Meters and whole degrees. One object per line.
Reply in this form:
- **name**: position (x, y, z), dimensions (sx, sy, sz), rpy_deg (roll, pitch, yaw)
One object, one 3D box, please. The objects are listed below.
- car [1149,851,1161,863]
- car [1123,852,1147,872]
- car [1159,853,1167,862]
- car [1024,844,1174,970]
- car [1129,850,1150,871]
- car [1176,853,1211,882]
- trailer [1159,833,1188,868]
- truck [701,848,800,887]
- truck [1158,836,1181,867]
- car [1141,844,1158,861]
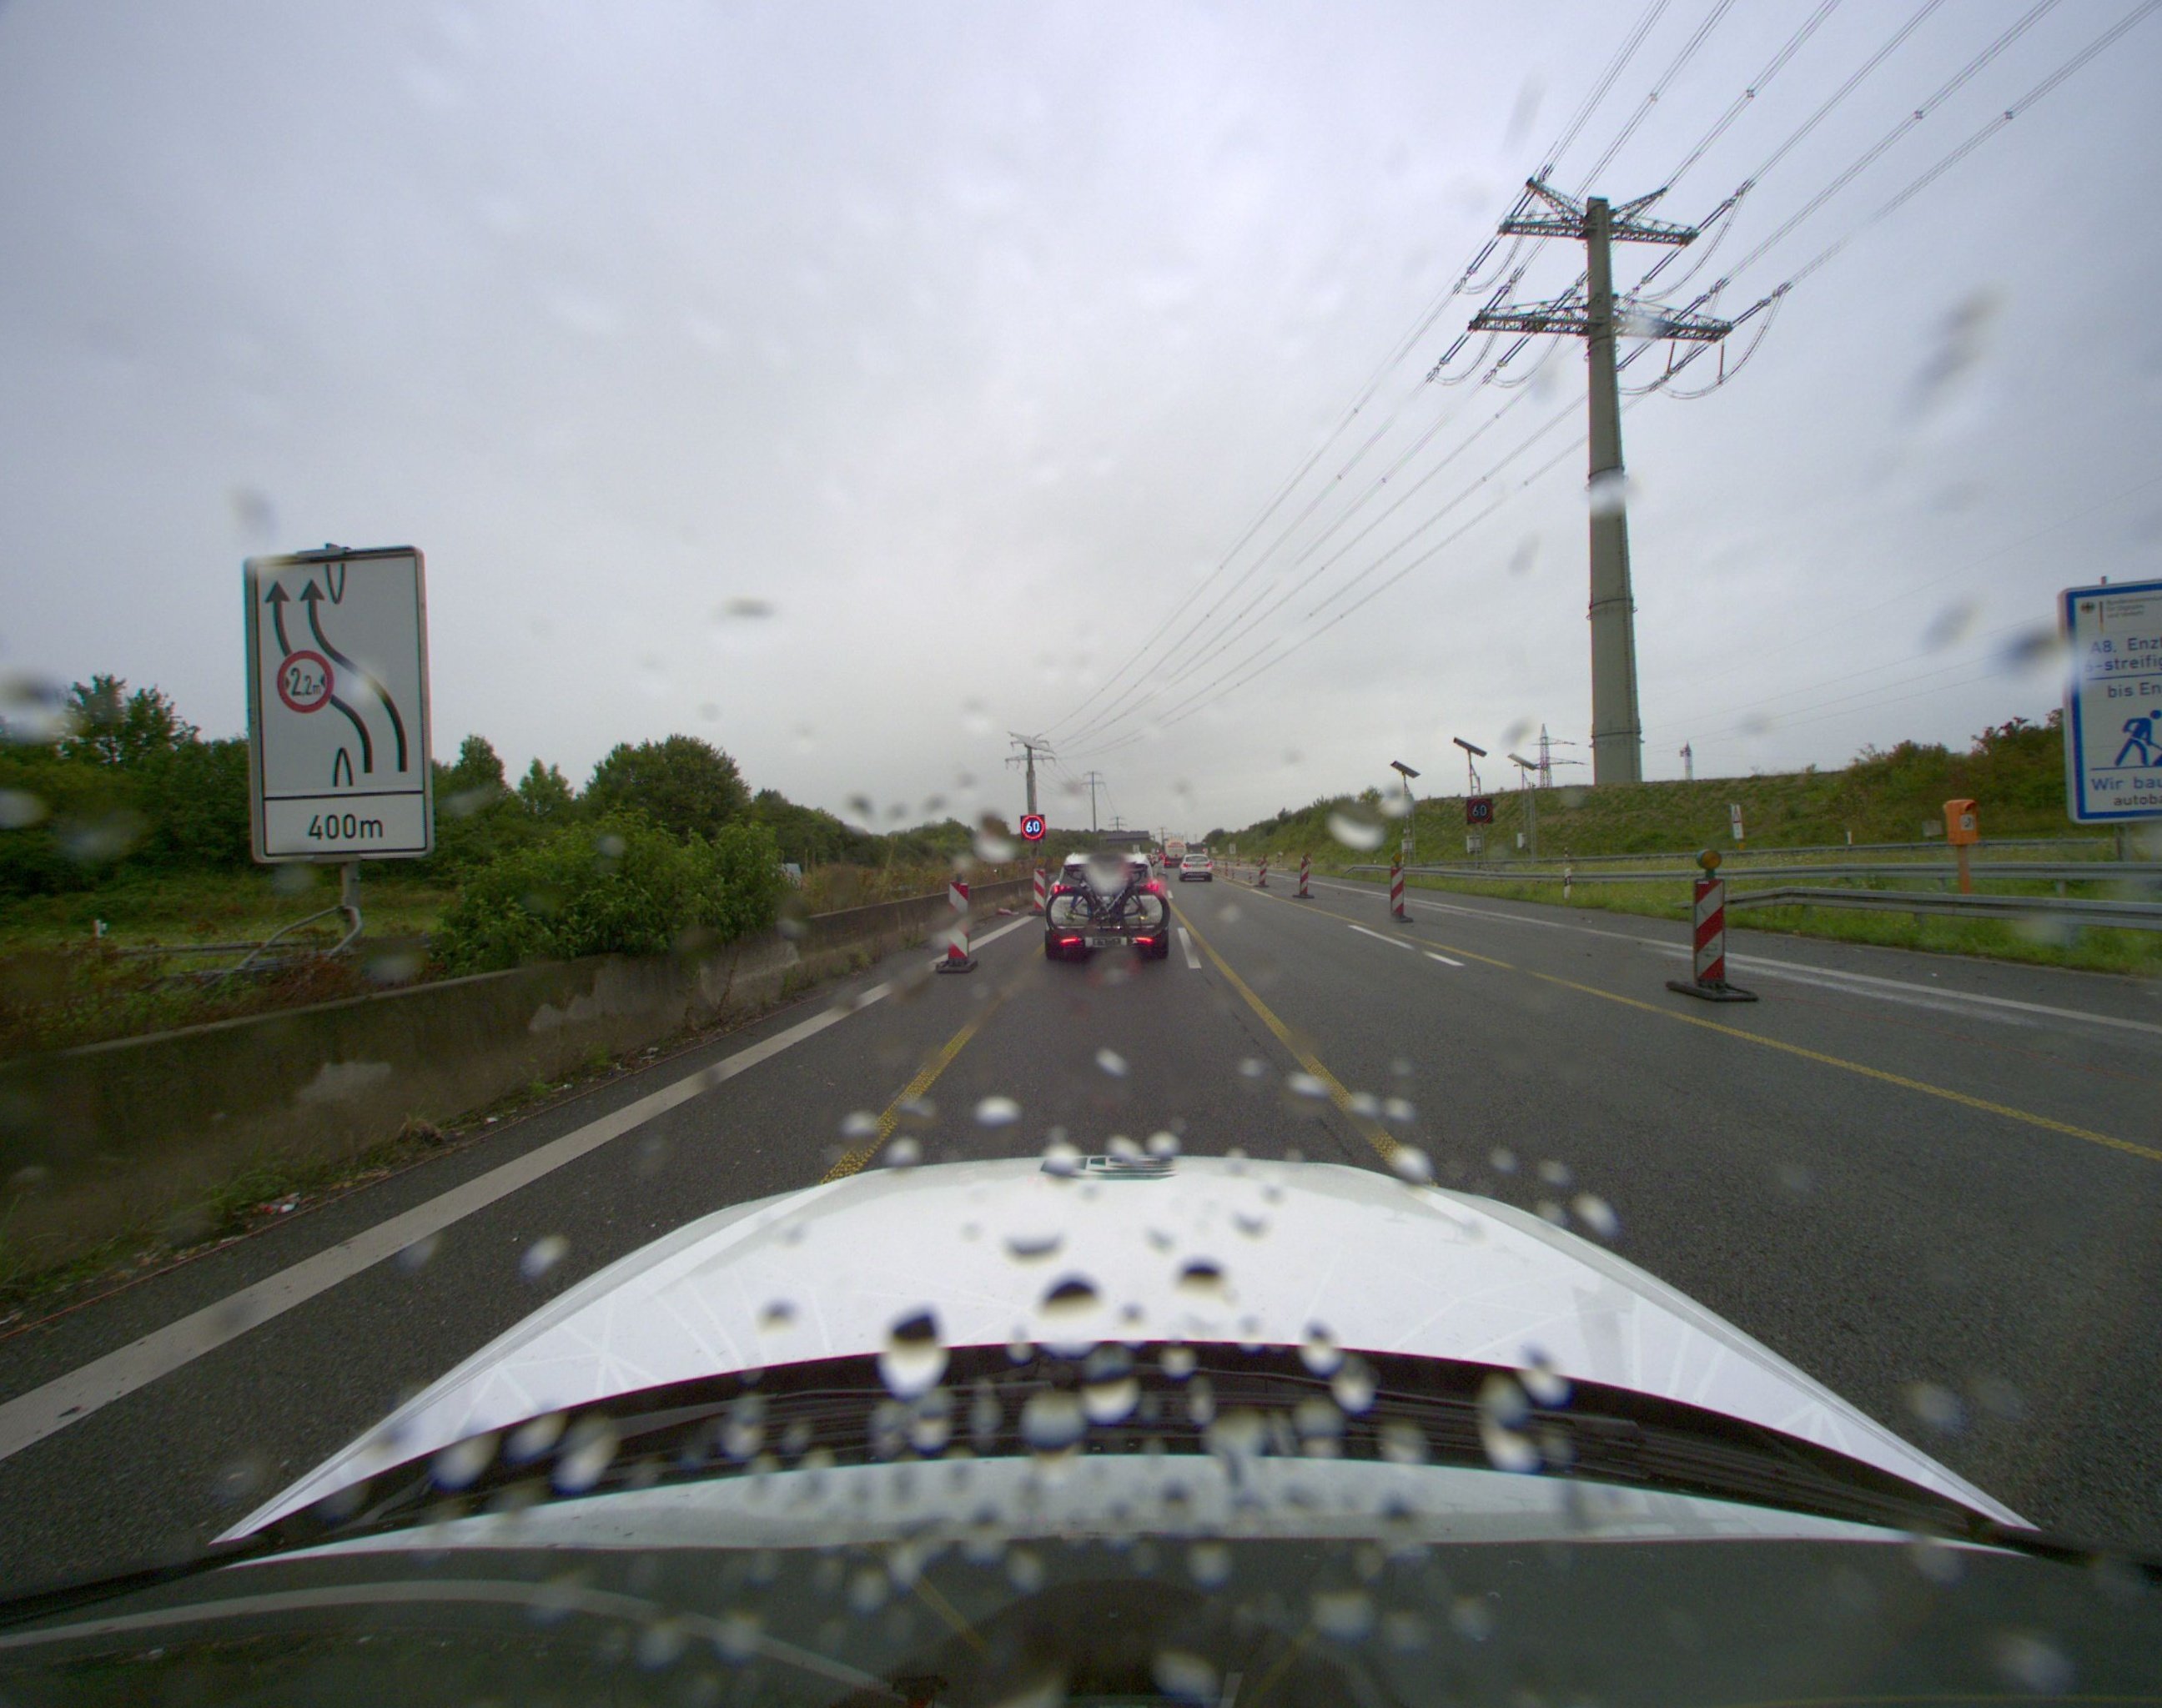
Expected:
- **car**: position (13.118, 0.557, 144.902), dimensions (1.986, 2.014, 4.002), rpy_deg (0, -1, 2)
- **car**: position (4.604, 0.670, 70.095), dimensions (1.986, 1.584, 4.002), rpy_deg (-1, 0, 2)
- **car**: position (18.932, 0.724, 187.563), dimensions (1.645, 2.013, 4.007), rpy_deg (-1, 0, 6)
- **car**: position (0.414, 0.695, 12.830), dimensions (1.919, 1.611, 4.601), rpy_deg (-1, 0, 5)
- **car**: position (6.019, 0.673, 84.064), dimensions (1.986, 2.013, 4.002), rpy_deg (-3, 0, 2)
- **car**: position (6.454, 0.746, 47.094), dimensions (1.861, 1.535, 4.203), rpy_deg (-1, 0, 6)
- **trailer**: position (11.068, -0.339, 98.355), dimensions (2.627, 3.893, 10.548), rpy_deg (0, -1, 2)
- **truck**: position (-23.152, 0.909, 57.434), dimensions (1.974, 2.428, 6.475), rpy_deg (-3, 0, 32)
- **truck**: position (11.323, -0.255, 104.736), dimensions (2.634, 3.891, 4.032), rpy_deg (0, -1, 2)
- **car**: position (8.920, -0.133, 106.434), dimensions (1.986, 2.014, 4.001), rpy_deg (0, -3, 2)
